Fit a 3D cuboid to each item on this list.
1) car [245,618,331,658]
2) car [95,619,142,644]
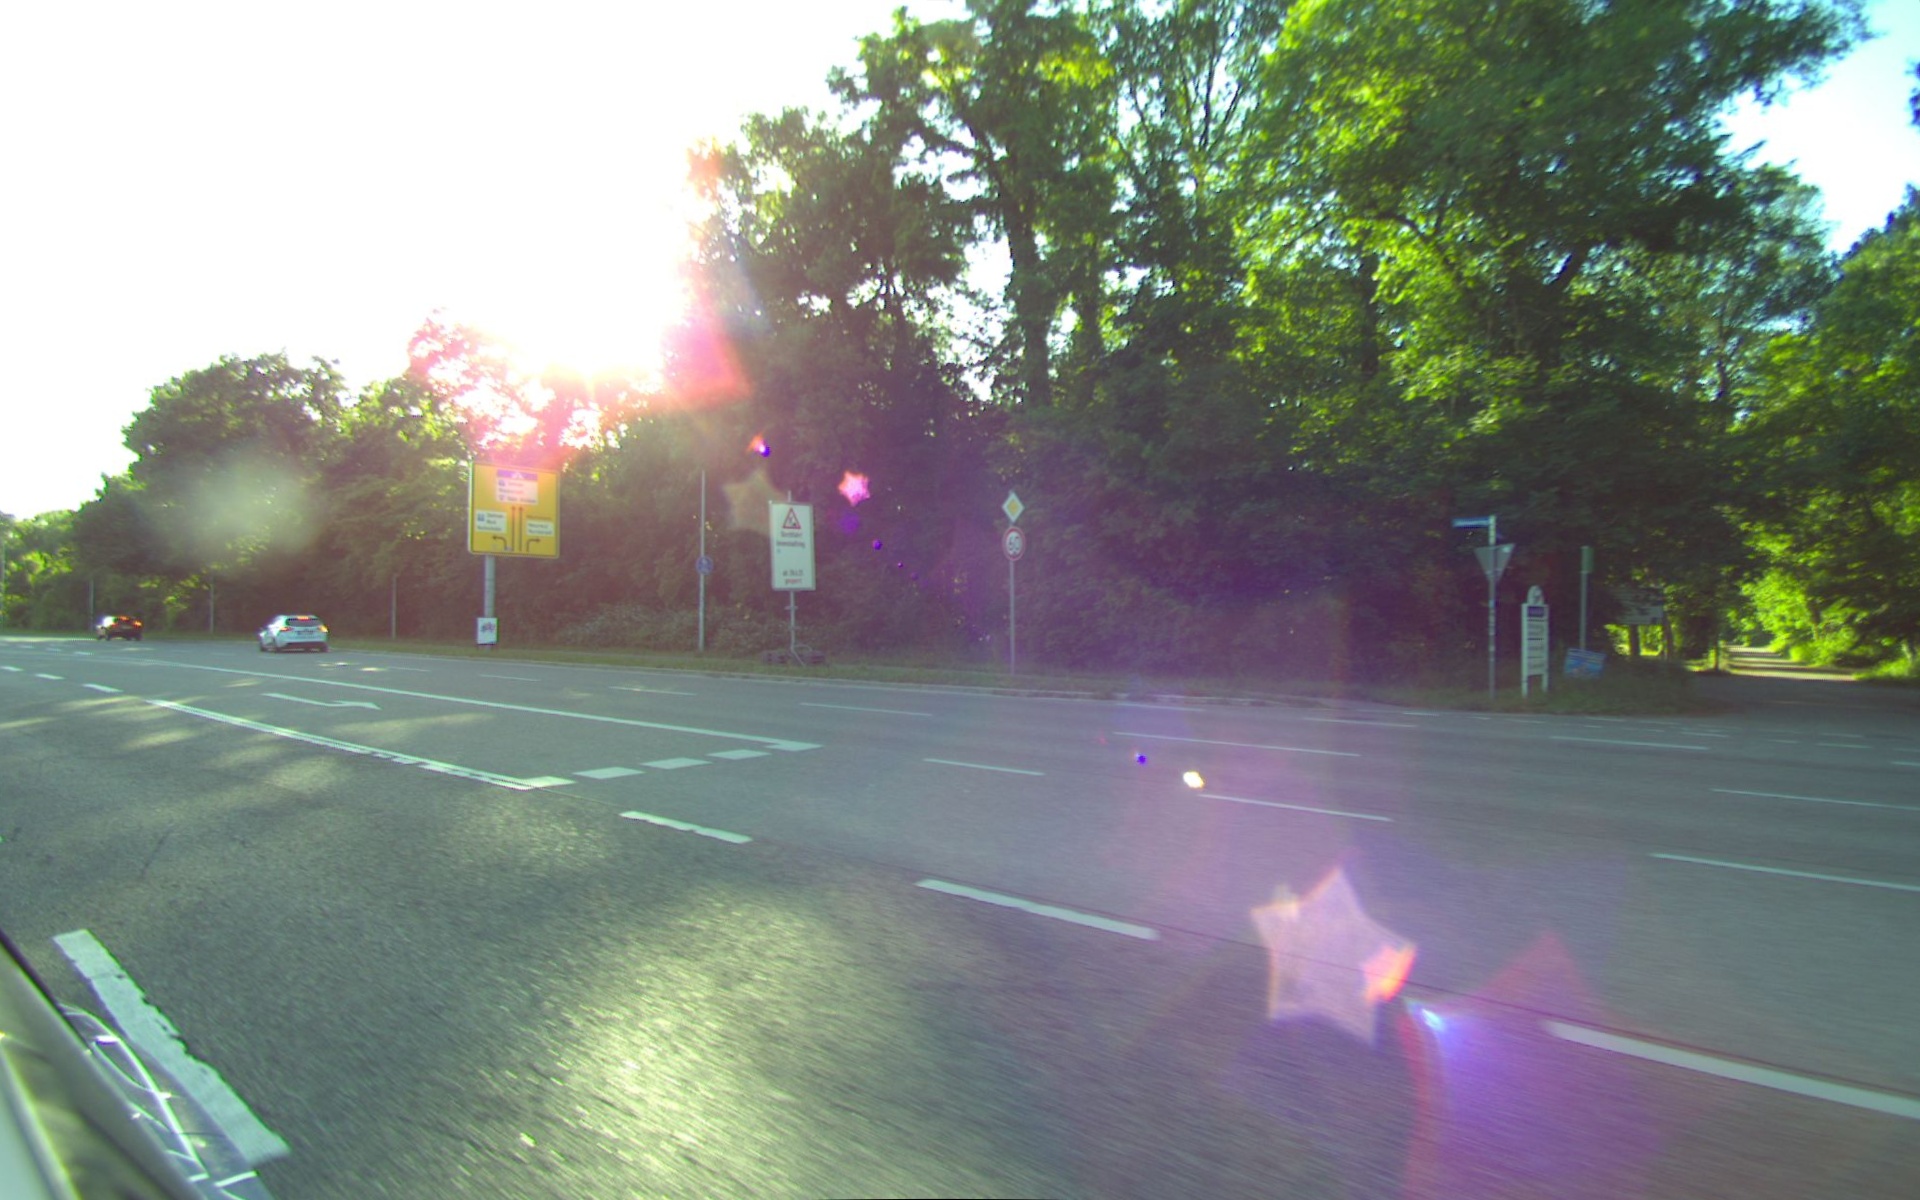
[{"bbox_3d":[-26.925,1.477,40.489,4.304,1.515,1.806,-1,-2,41],"label":"car"},{"bbox_3d":[-54.361,2.025,65.340,4.256,1.556,1.805,-1,-2,43],"label":"car"}]
